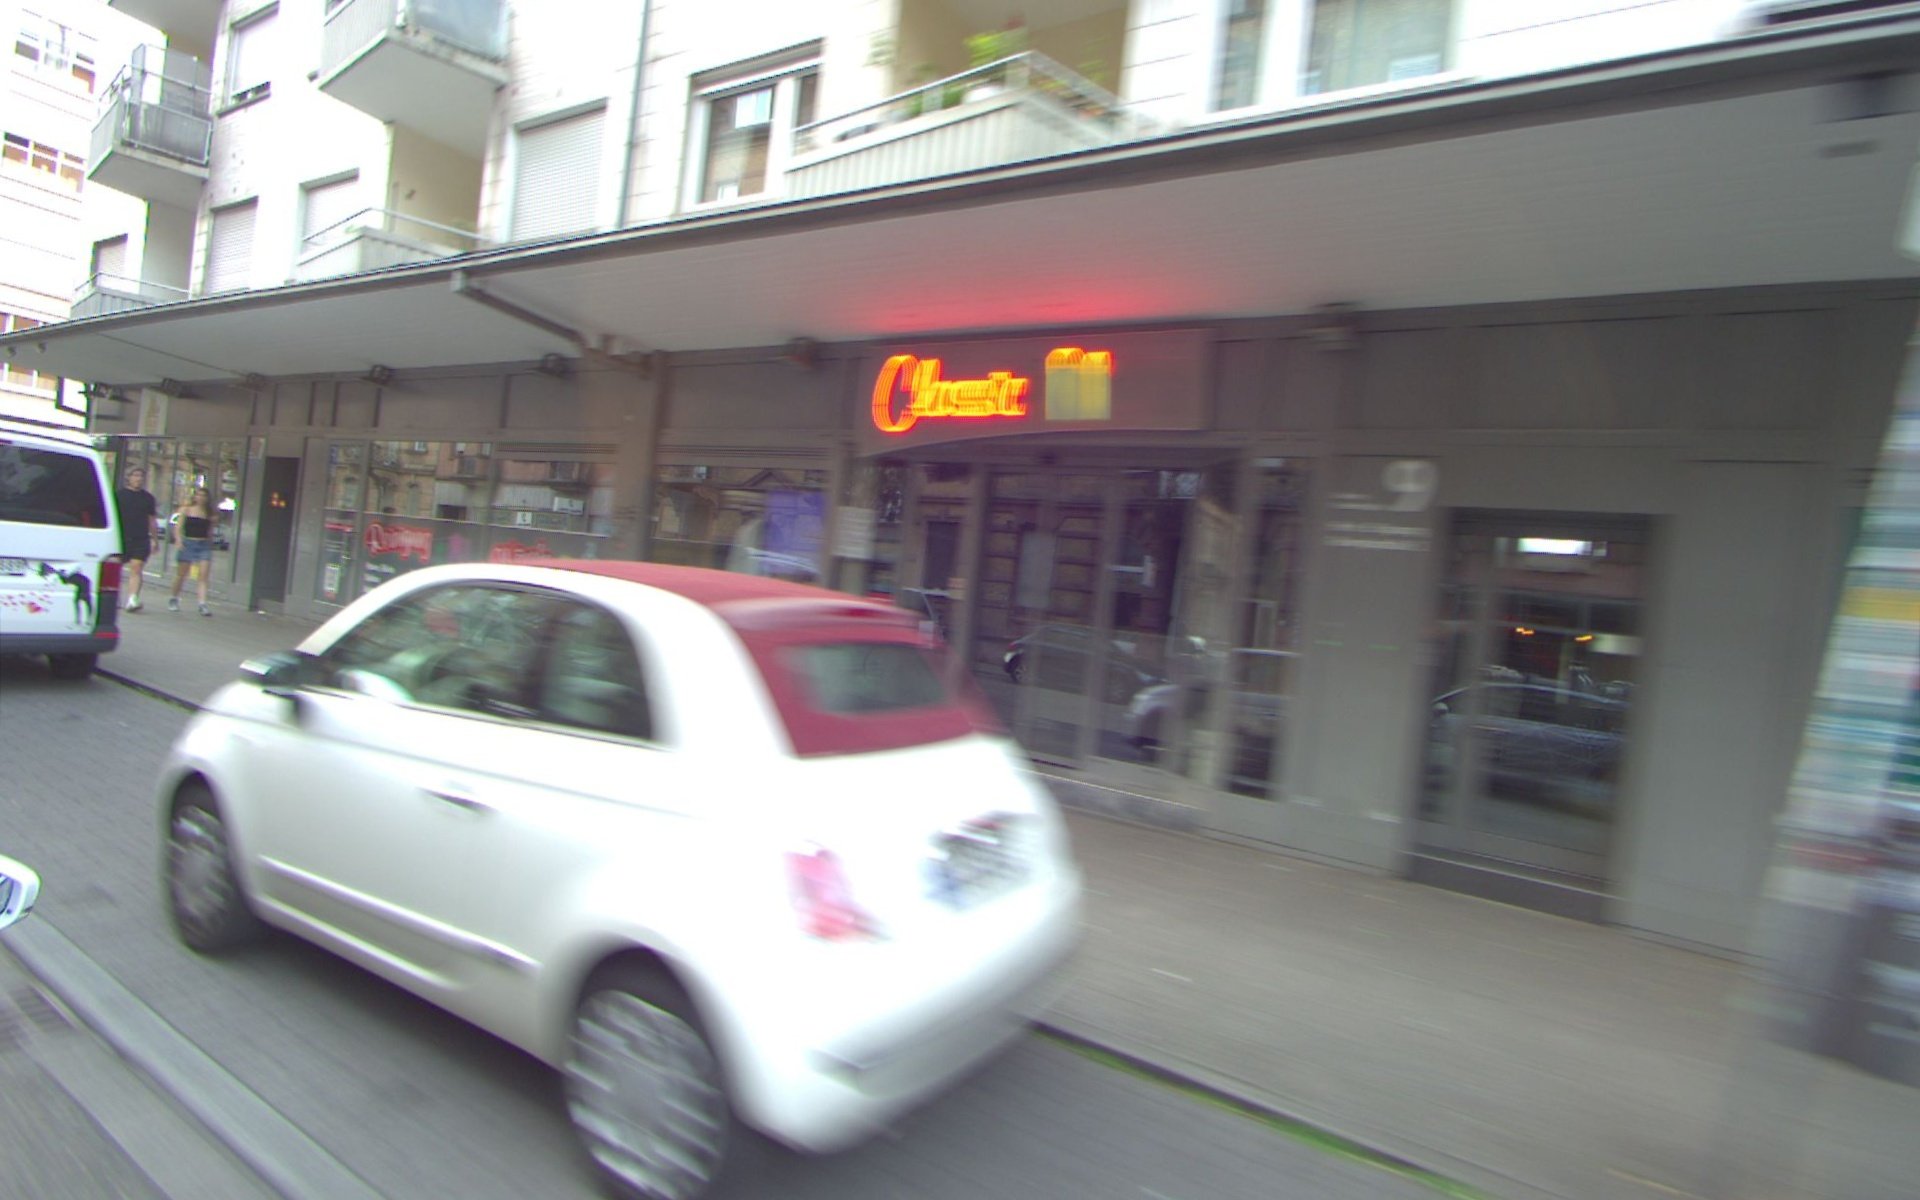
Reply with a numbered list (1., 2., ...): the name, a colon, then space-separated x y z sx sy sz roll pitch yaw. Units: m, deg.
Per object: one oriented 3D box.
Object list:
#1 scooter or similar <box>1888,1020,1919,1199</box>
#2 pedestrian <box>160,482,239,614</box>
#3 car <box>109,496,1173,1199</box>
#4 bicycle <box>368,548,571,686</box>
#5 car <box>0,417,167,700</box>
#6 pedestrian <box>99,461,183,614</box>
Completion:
1. scooter or similar: 2.114 1.072 1.352 0.529 1.186 1.158 7 2 -17
2. pedestrian: -10.273 -0.693 13.583 0.705 1.687 0.736 4 1 -42
3. car: -1.218 0.577 3.472 3.366 1.521 1.593 7 2 31
4. bicycle: -5.071 0.159 10.426 1.679 1.211 0.912 6 2 20
5. car: -8.833 -0.536 8.433 4.922 2.000 1.958 7 2 34
6. pedestrian: -10.627 -0.797 13.044 0.706 1.852 0.850 4 1 -43
